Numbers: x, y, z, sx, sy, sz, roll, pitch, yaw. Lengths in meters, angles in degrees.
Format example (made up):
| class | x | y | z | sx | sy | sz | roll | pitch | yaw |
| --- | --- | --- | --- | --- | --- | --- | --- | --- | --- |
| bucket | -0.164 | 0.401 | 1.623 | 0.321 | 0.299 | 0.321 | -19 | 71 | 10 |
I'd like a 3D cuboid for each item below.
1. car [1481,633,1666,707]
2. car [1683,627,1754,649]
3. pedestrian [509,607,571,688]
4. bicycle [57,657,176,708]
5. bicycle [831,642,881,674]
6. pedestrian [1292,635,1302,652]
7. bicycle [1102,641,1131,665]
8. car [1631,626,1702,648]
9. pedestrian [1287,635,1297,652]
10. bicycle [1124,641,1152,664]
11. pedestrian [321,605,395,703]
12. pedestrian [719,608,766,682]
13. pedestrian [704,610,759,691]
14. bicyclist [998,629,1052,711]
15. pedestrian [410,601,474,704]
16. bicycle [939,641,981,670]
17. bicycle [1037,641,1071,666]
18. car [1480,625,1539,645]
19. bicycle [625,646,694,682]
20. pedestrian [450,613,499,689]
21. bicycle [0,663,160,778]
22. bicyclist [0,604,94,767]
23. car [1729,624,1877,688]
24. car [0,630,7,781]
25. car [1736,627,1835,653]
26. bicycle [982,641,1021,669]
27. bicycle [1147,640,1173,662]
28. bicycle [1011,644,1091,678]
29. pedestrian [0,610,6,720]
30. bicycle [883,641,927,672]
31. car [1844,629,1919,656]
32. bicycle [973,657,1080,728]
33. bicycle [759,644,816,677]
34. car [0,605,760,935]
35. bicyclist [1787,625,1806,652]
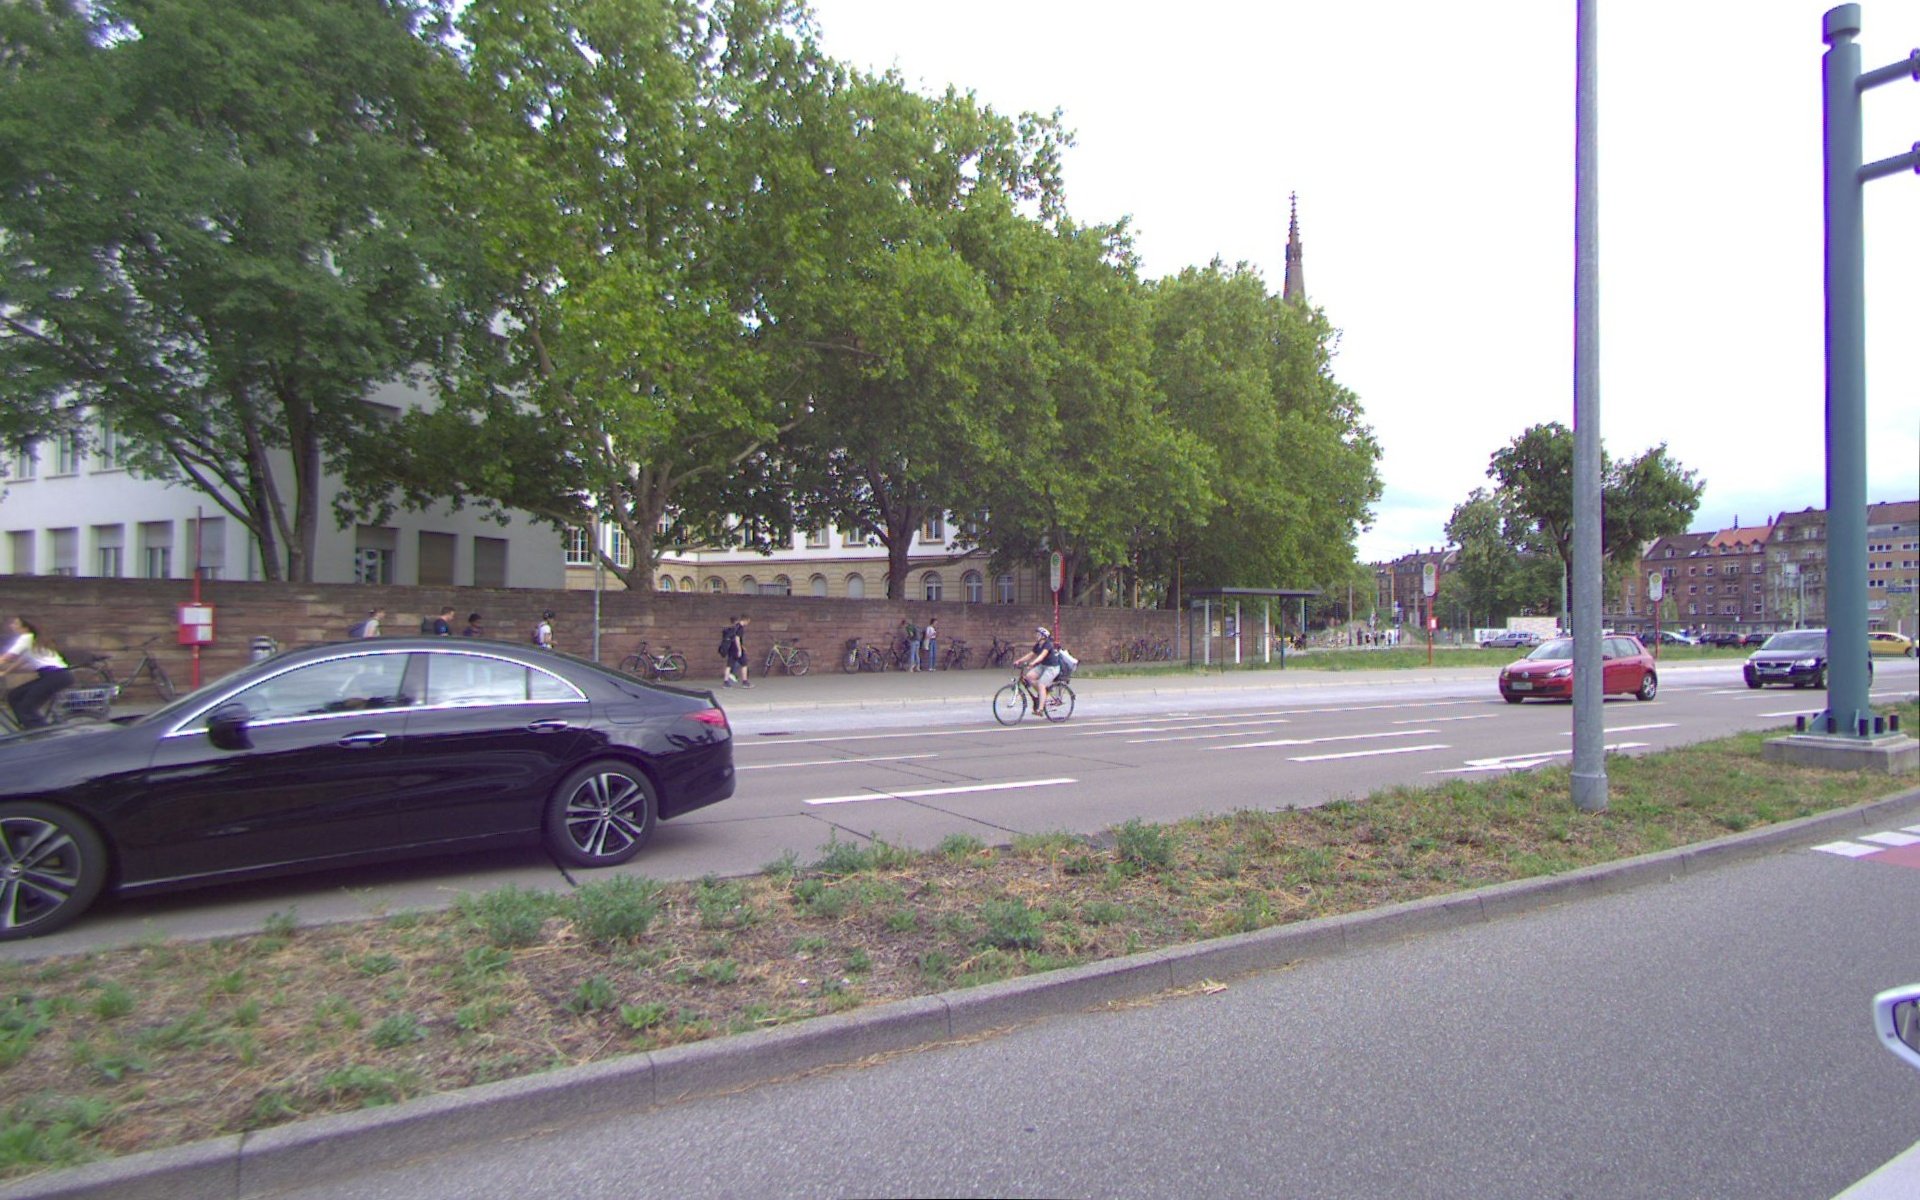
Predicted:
| class | x | y | z | sx | sy | sz | roll | pitch | yaw |
| --- | --- | --- | --- | --- | --- | --- | --- | --- | --- |
| car | 13.893 | 1.504 | 22.700 | 4.238 | 1.509 | 1.793 | 1 | -2 | -30 |
| car | 53.689 | 2.698 | 71.140 | 1.568 | 1.413 | 3.740 | 1 | 0 | -34 |
| pedestrian | -9.062 | 1.026 | 21.709 | 0.748 | 1.693 | 0.922 | 0 | -2 | 32 |
| bicycle | -15.081 | 1.462 | 18.007 | 1.607 | 0.807 | 0.437 | 0 | 2 | -39 |
| bicycle | -3.059 | 1.698 | 29.561 | 0.412 | 0.890 | 1.547 | 2 | 0 | 43 |
| pedestrian | 30.680 | 3.968 | 91.389 | 0.719 | 1.581 | 0.558 | 1 | -1 | -35 |
| bicycle | 6.401 | 2.169 | 40.976 | 0.474 | 0.919 | 1.615 | 2 | 0 | 36 |
| car | 49.565 | 2.575 | 70.504 | 1.568 | 1.413 | 3.741 | 1 | 0 | -33 |
| pedestrian | 30.515 | 3.977 | 92.434 | 0.719 | 1.581 | 0.558 | 1 | -1 | -35 |
| bicycle | 7.604 | 2.213 | 42.810 | 0.474 | 0.919 | 1.615 | 2 | 0 | 36 |
| pedestrian | -11.492 | 1.026 | 19.187 | 0.748 | 1.806 | 0.912 | 0 | -2 | 32 |
| pedestrian | -5.429 | 1.116 | 25.090 | 0.748 | 1.806 | 0.782 | 0 | -2 | 32 |
| pedestrian | -5.232 | 1.146 | 23.016 | 0.748 | 1.806 | 0.922 | 0 | -2 | 32 |
| bicyclist | 1.169 | 1.244 | 18.170 | 0.801 | 1.437 | 0.578 | 1 | -1 | -28 |
| pedestrian | -9.360 | 0.942 | 18.138 | 0.749 | 1.806 | 0.719 | 0 | -2 | 37 |
| bicycle | 0.013 | 1.809 | 32.925 | 0.435 | 0.890 | 1.613 | 2 | 0 | 39 |
| bicycle | 3.497 | 1.971 | 37.223 | 0.475 | 0.919 | 1.614 | -1 | -2 | 37 |
| car | 46.186 | 2.928 | 84.503 | 1.630 | 1.671 | 4.127 | 1 | -2 | -35 |
| bicycle | -7.451 | 1.580 | 24.959 | 0.436 | 0.838 | 1.611 | 2 | 0 | 43 |
| pedestrian | -10.475 | 1.098 | 21.670 | 0.579 | 1.613 | 0.733 | 0 | -2 | 38 |
| bicycle | -10.547 | 1.367 | 11.527 | 2.017 | 1.233 | 0.617 | 1 | -1 | -25 |
| bicyclist | -10.565 | 0.959 | 11.512 | 0.800 | 1.806 | 0.616 | 1 | -1 | -25 |
| car | 23.603 | 1.544 | 28.091 | 4.249 | 1.687 | 1.794 | 1 | -3 | -30 |
| car | -11.083 | 1.003 | 8.261 | 4.364 | 1.509 | 1.793 | 1 | -2 | -30 |
| car | 52.820 | 2.523 | 64.393 | 1.643 | 1.495 | 4.640 | 1 | 0 | -34 |
| bicycle | 1.430 | 1.891 | 34.620 | 0.435 | 0.890 | 1.613 | 2 | 0 | 39 |
| bicycle | 8.833 | 2.254 | 44.387 | 0.474 | 0.919 | 1.615 | 2 | 0 | 36 |
| bicycle | 2.605 | 1.722 | 28.639 | 2.305 | 0.931 | 0.469 | 1 | -1 | -22 |
| pedestrian | -14.757 | 1.031 | 14.805 | 0.748 | 1.806 | 0.782 | 0 | -2 | 32 |
| bicycle | -1.697 | 1.732 | 31.034 | 0.343 | 0.890 | 1.513 | 2 | 0 | 43 |
| car | 55.725 | 2.527 | 60.202 | 1.643 | 1.537 | 3.833 | 1 | 0 | -34 |
| bicycle | 1.224 | 1.646 | 18.202 | 1.940 | 1.186 | 0.579 | 1 | -1 | -29 |
| bicycle | -4.760 | 1.663 | 27.760 | 0.436 | 0.838 | 1.611 | 2 | 0 | 43 |
| car | -3.628 | 0.821 | 6.229 | 4.360 | 1.509 | 1.791 | 1 | -2 | -34 |
| bicyclist | 51.494 | 2.352 | 61.827 | 0.566 | 1.665 | 0.781 | 1 | -2 | -34 |
